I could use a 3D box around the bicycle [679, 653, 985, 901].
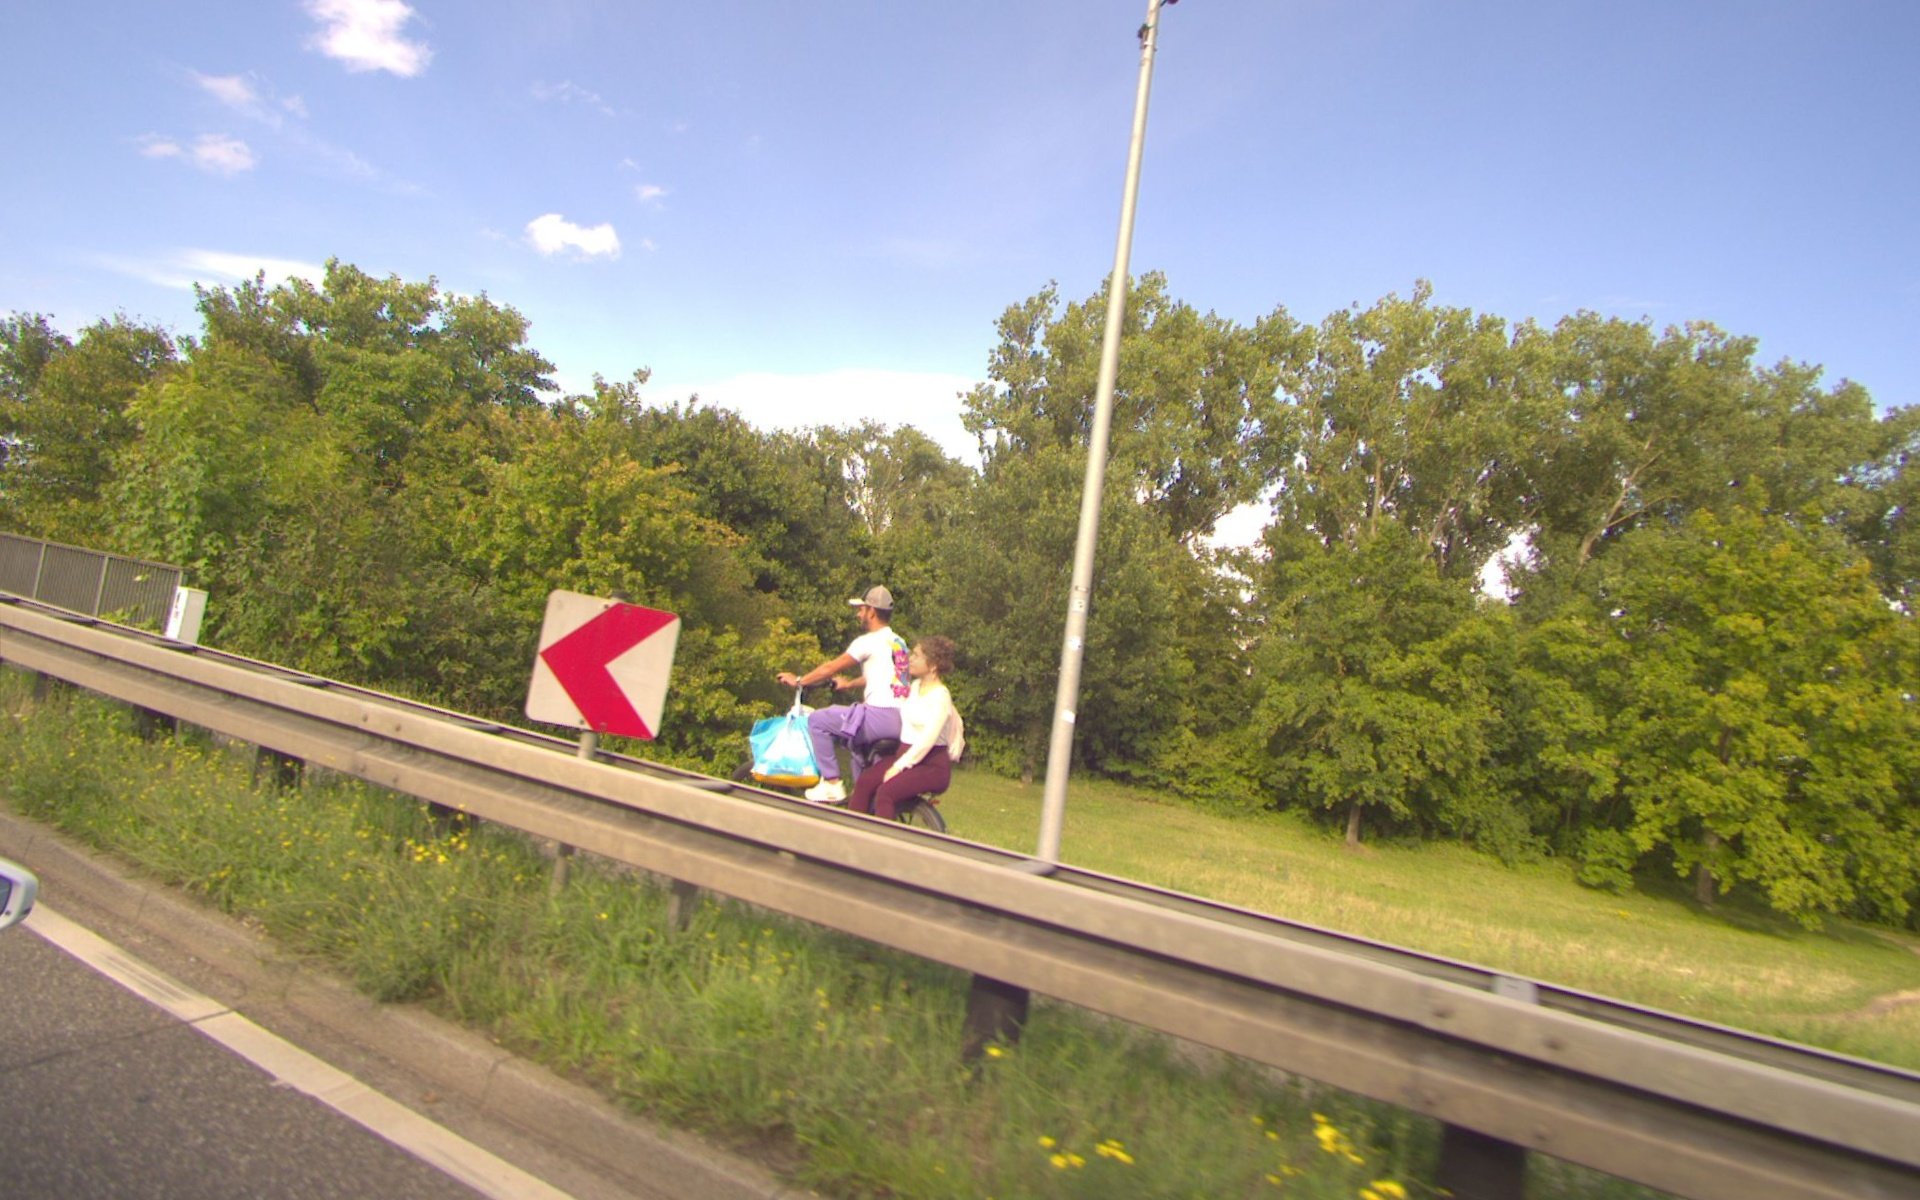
[{"bbox_3d":[-0.792,1.008,6.095,1.667,1.133,0.597,7,-2,28],"label":"bicycle"}]

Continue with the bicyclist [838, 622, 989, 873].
[{"bbox_3d":[-0.258,0.829,5.815,0.529,1.316,0.501,7,-1,27],"label":"bicyclist"}]

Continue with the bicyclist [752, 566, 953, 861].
[{"bbox_3d":[-0.629,0.654,6.030,0.741,1.575,0.709,7,-1,27],"label":"bicyclist"}]
